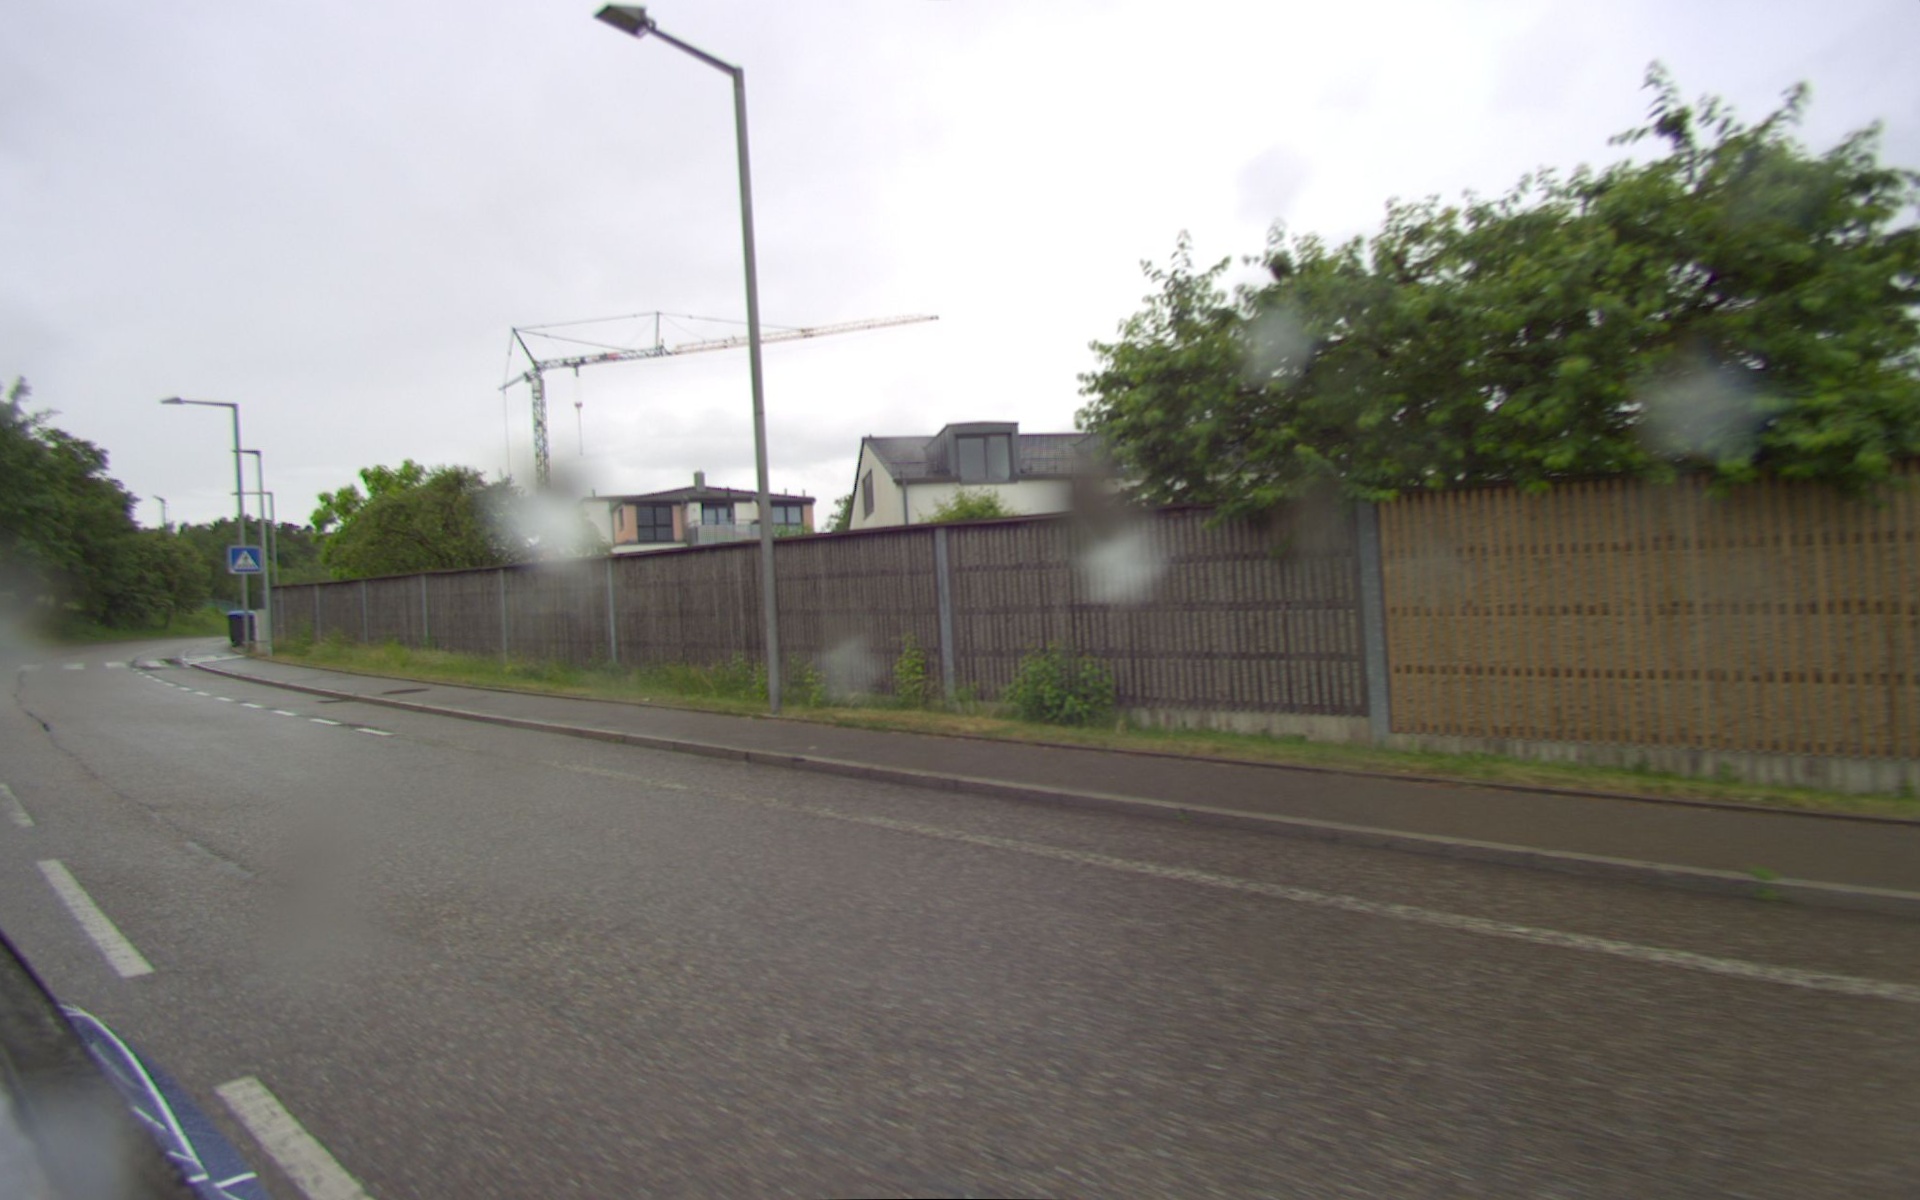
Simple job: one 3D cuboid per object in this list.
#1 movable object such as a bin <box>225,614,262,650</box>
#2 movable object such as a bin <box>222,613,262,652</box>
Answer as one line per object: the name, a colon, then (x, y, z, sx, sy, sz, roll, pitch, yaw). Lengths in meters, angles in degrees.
movable object such as a bin: (-29.501, 1.293, 41.653, 1.117, 1.349, 1.402, -6, 2, -36)
movable object such as a bin: (-27.442, 1.232, 38.677, 1.117, 1.331, 1.365, -7, 3, -36)
